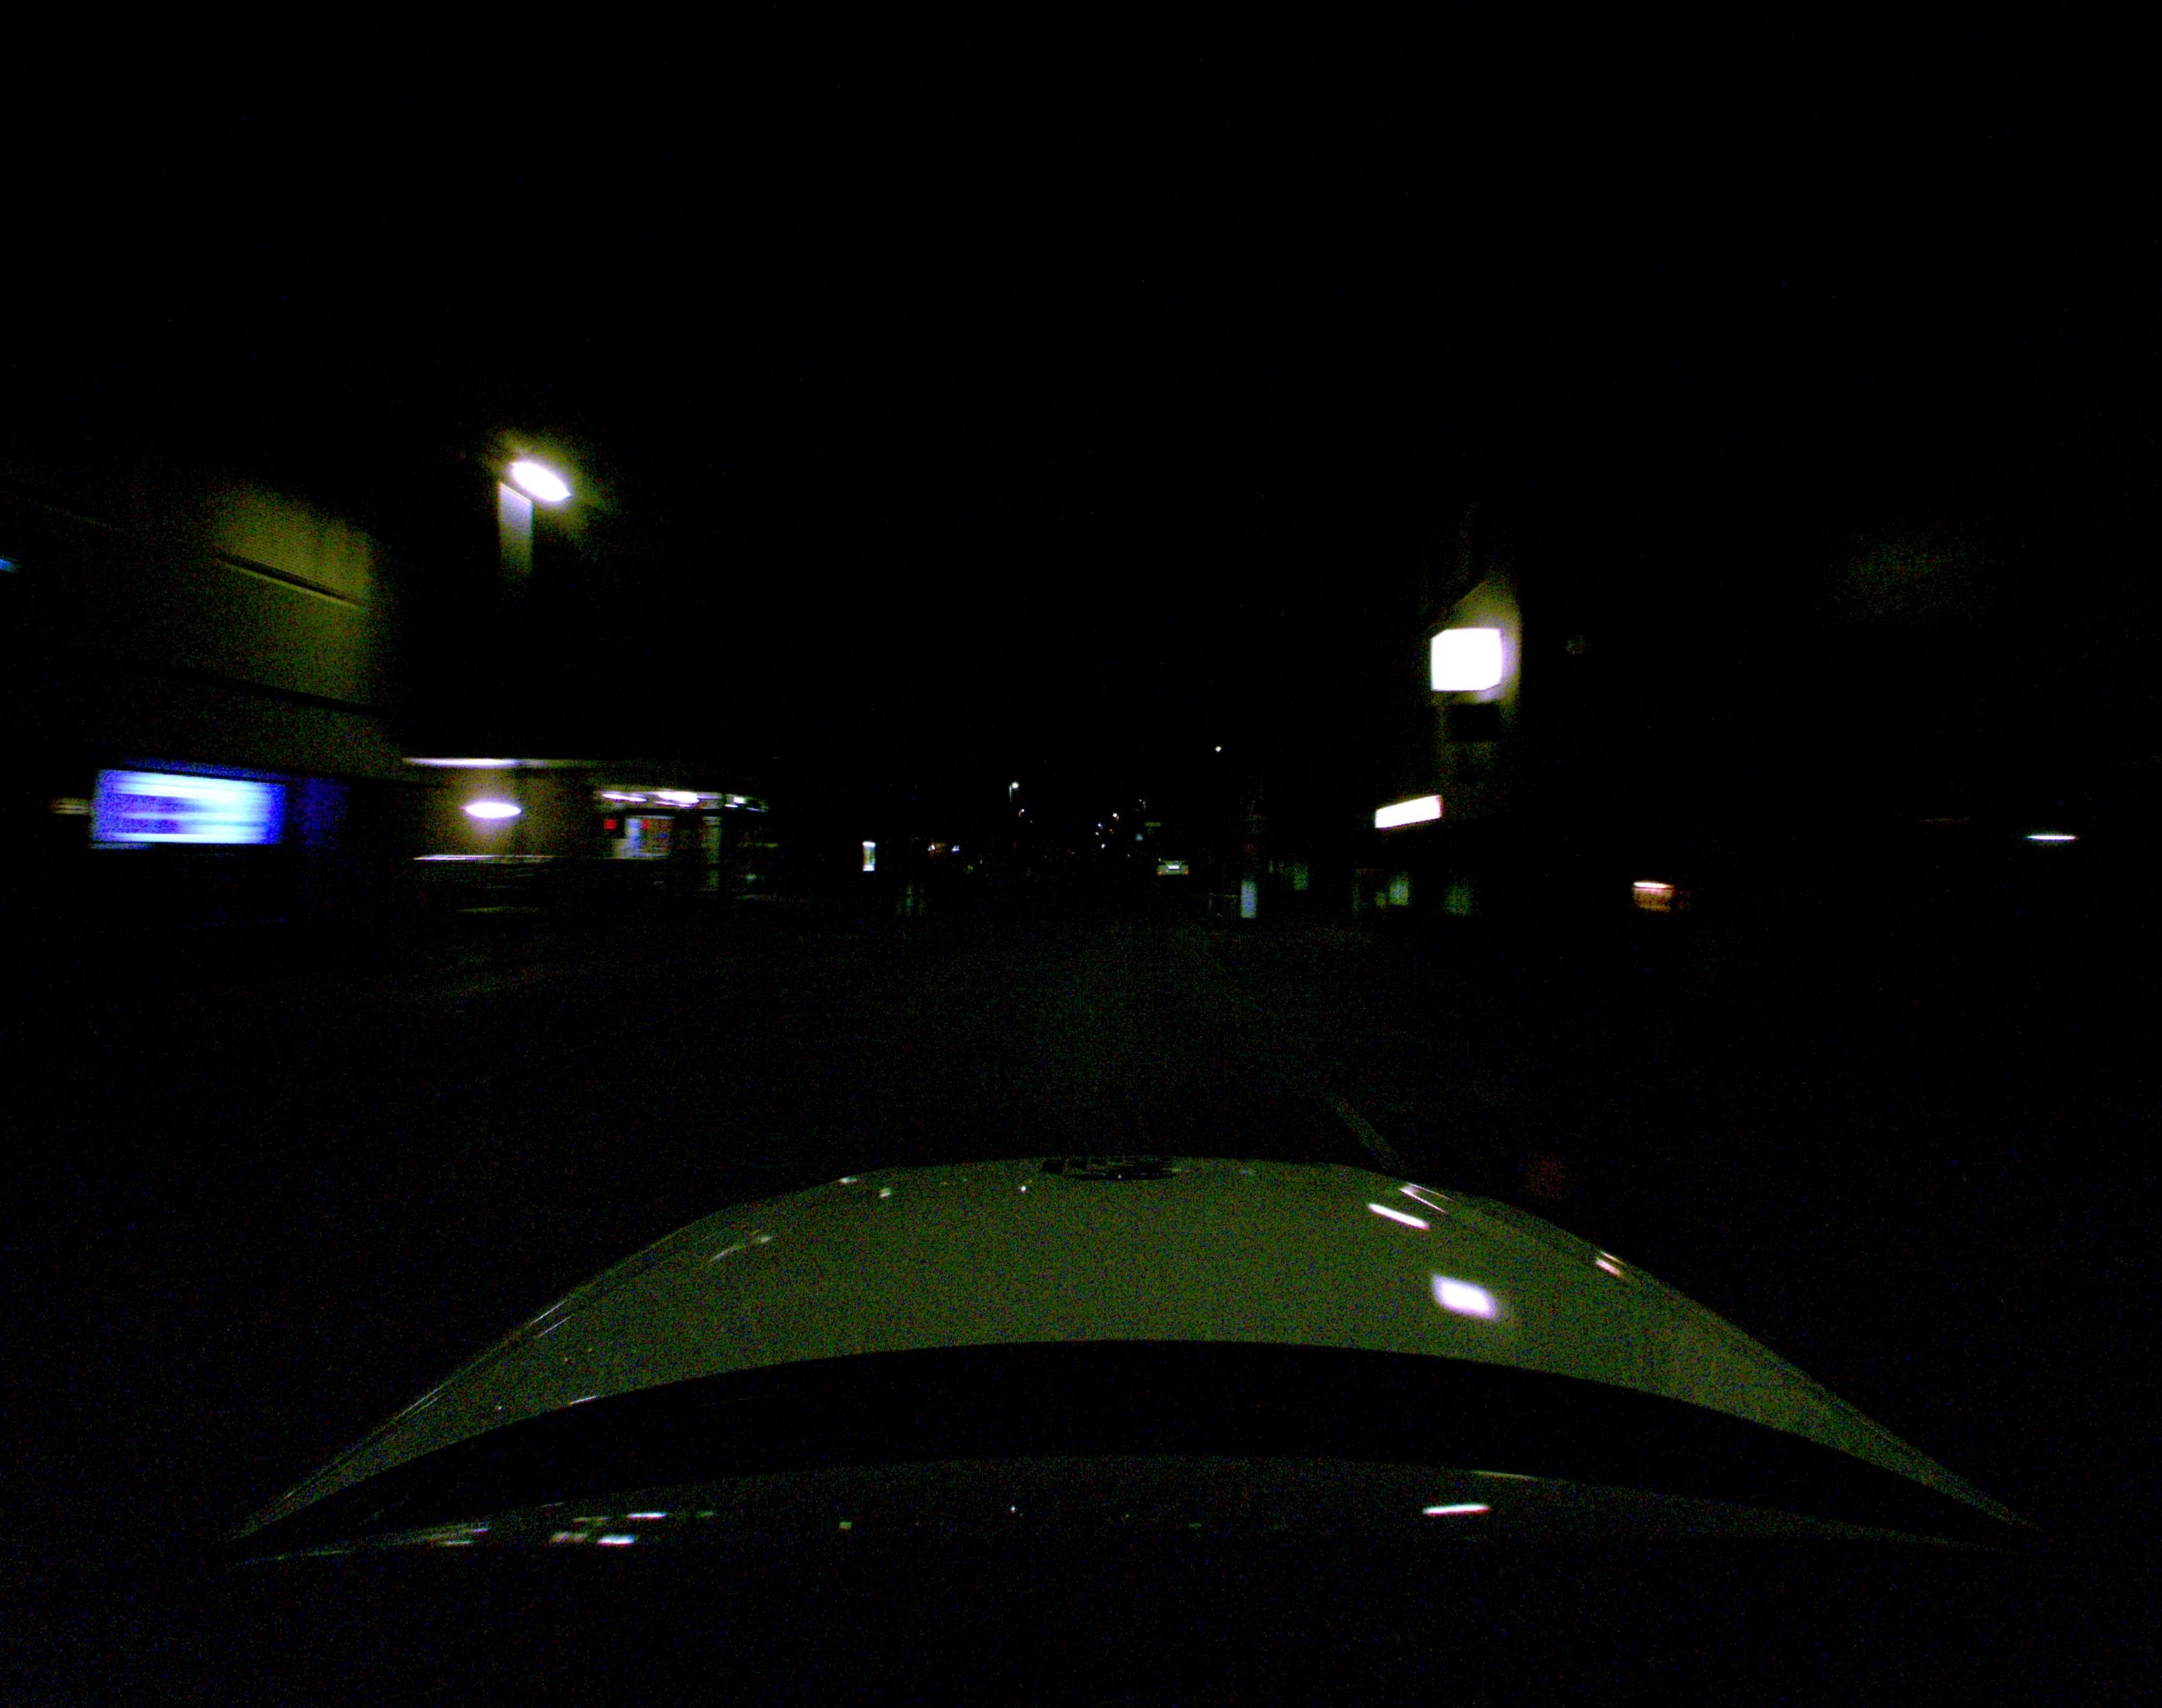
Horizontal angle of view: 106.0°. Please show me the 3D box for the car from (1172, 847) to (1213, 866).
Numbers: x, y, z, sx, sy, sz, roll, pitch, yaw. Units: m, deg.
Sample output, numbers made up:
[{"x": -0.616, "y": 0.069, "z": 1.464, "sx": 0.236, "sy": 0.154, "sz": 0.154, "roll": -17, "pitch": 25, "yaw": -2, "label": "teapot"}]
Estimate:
[{"x": 10.439, "y": 0.215, "z": 76.487, "sx": 3.497, "sy": 1.524, "sz": 1.819, "roll": -4, "pitch": 0, "yaw": -3, "label": "car"}]

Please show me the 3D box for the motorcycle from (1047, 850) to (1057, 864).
[{"x": -3.158, "y": 0.338, "z": 87.799, "sx": 0.742, "sy": 1.452, "sz": 2.200, "roll": 0, "pitch": 0, "yaw": 7, "label": "motorcycle"}]

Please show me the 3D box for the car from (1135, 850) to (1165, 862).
[{"x": 8.808, "y": 0.261, "z": 103.886, "sx": 3.698, "sy": 1.473, "sz": 1.731, "roll": 0, "pitch": 0, "yaw": 0, "label": "car"}]

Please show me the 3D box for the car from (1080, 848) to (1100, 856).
[{"x": 2.336, "y": -0.518, "z": 212.506, "sx": 5.171, "sy": 2.013, "sz": 2.099, "roll": -2, "pitch": 0, "yaw": -4, "label": "car"}]

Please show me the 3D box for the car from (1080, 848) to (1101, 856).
[{"x": 2.511, "y": -0.541, "z": 215.579, "sx": 5.171, "sy": 2.013, "sz": 2.099, "roll": -2, "pitch": 0, "yaw": -4, "label": "car"}]

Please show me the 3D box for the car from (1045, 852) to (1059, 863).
[{"x": -3.818, "y": 0.432, "z": 107.219, "sx": 1.683, "sy": 1.510, "sz": 4.276, "roll": 0, "pitch": 0, "yaw": -1, "label": "car"}]

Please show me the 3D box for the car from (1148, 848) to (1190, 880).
[{"x": 4.633, "y": 0.515, "z": 43.186, "sx": 1.737, "sy": 1.569, "sz": 4.208, "roll": -1, "pitch": 0, "yaw": 0, "label": "car"}]
